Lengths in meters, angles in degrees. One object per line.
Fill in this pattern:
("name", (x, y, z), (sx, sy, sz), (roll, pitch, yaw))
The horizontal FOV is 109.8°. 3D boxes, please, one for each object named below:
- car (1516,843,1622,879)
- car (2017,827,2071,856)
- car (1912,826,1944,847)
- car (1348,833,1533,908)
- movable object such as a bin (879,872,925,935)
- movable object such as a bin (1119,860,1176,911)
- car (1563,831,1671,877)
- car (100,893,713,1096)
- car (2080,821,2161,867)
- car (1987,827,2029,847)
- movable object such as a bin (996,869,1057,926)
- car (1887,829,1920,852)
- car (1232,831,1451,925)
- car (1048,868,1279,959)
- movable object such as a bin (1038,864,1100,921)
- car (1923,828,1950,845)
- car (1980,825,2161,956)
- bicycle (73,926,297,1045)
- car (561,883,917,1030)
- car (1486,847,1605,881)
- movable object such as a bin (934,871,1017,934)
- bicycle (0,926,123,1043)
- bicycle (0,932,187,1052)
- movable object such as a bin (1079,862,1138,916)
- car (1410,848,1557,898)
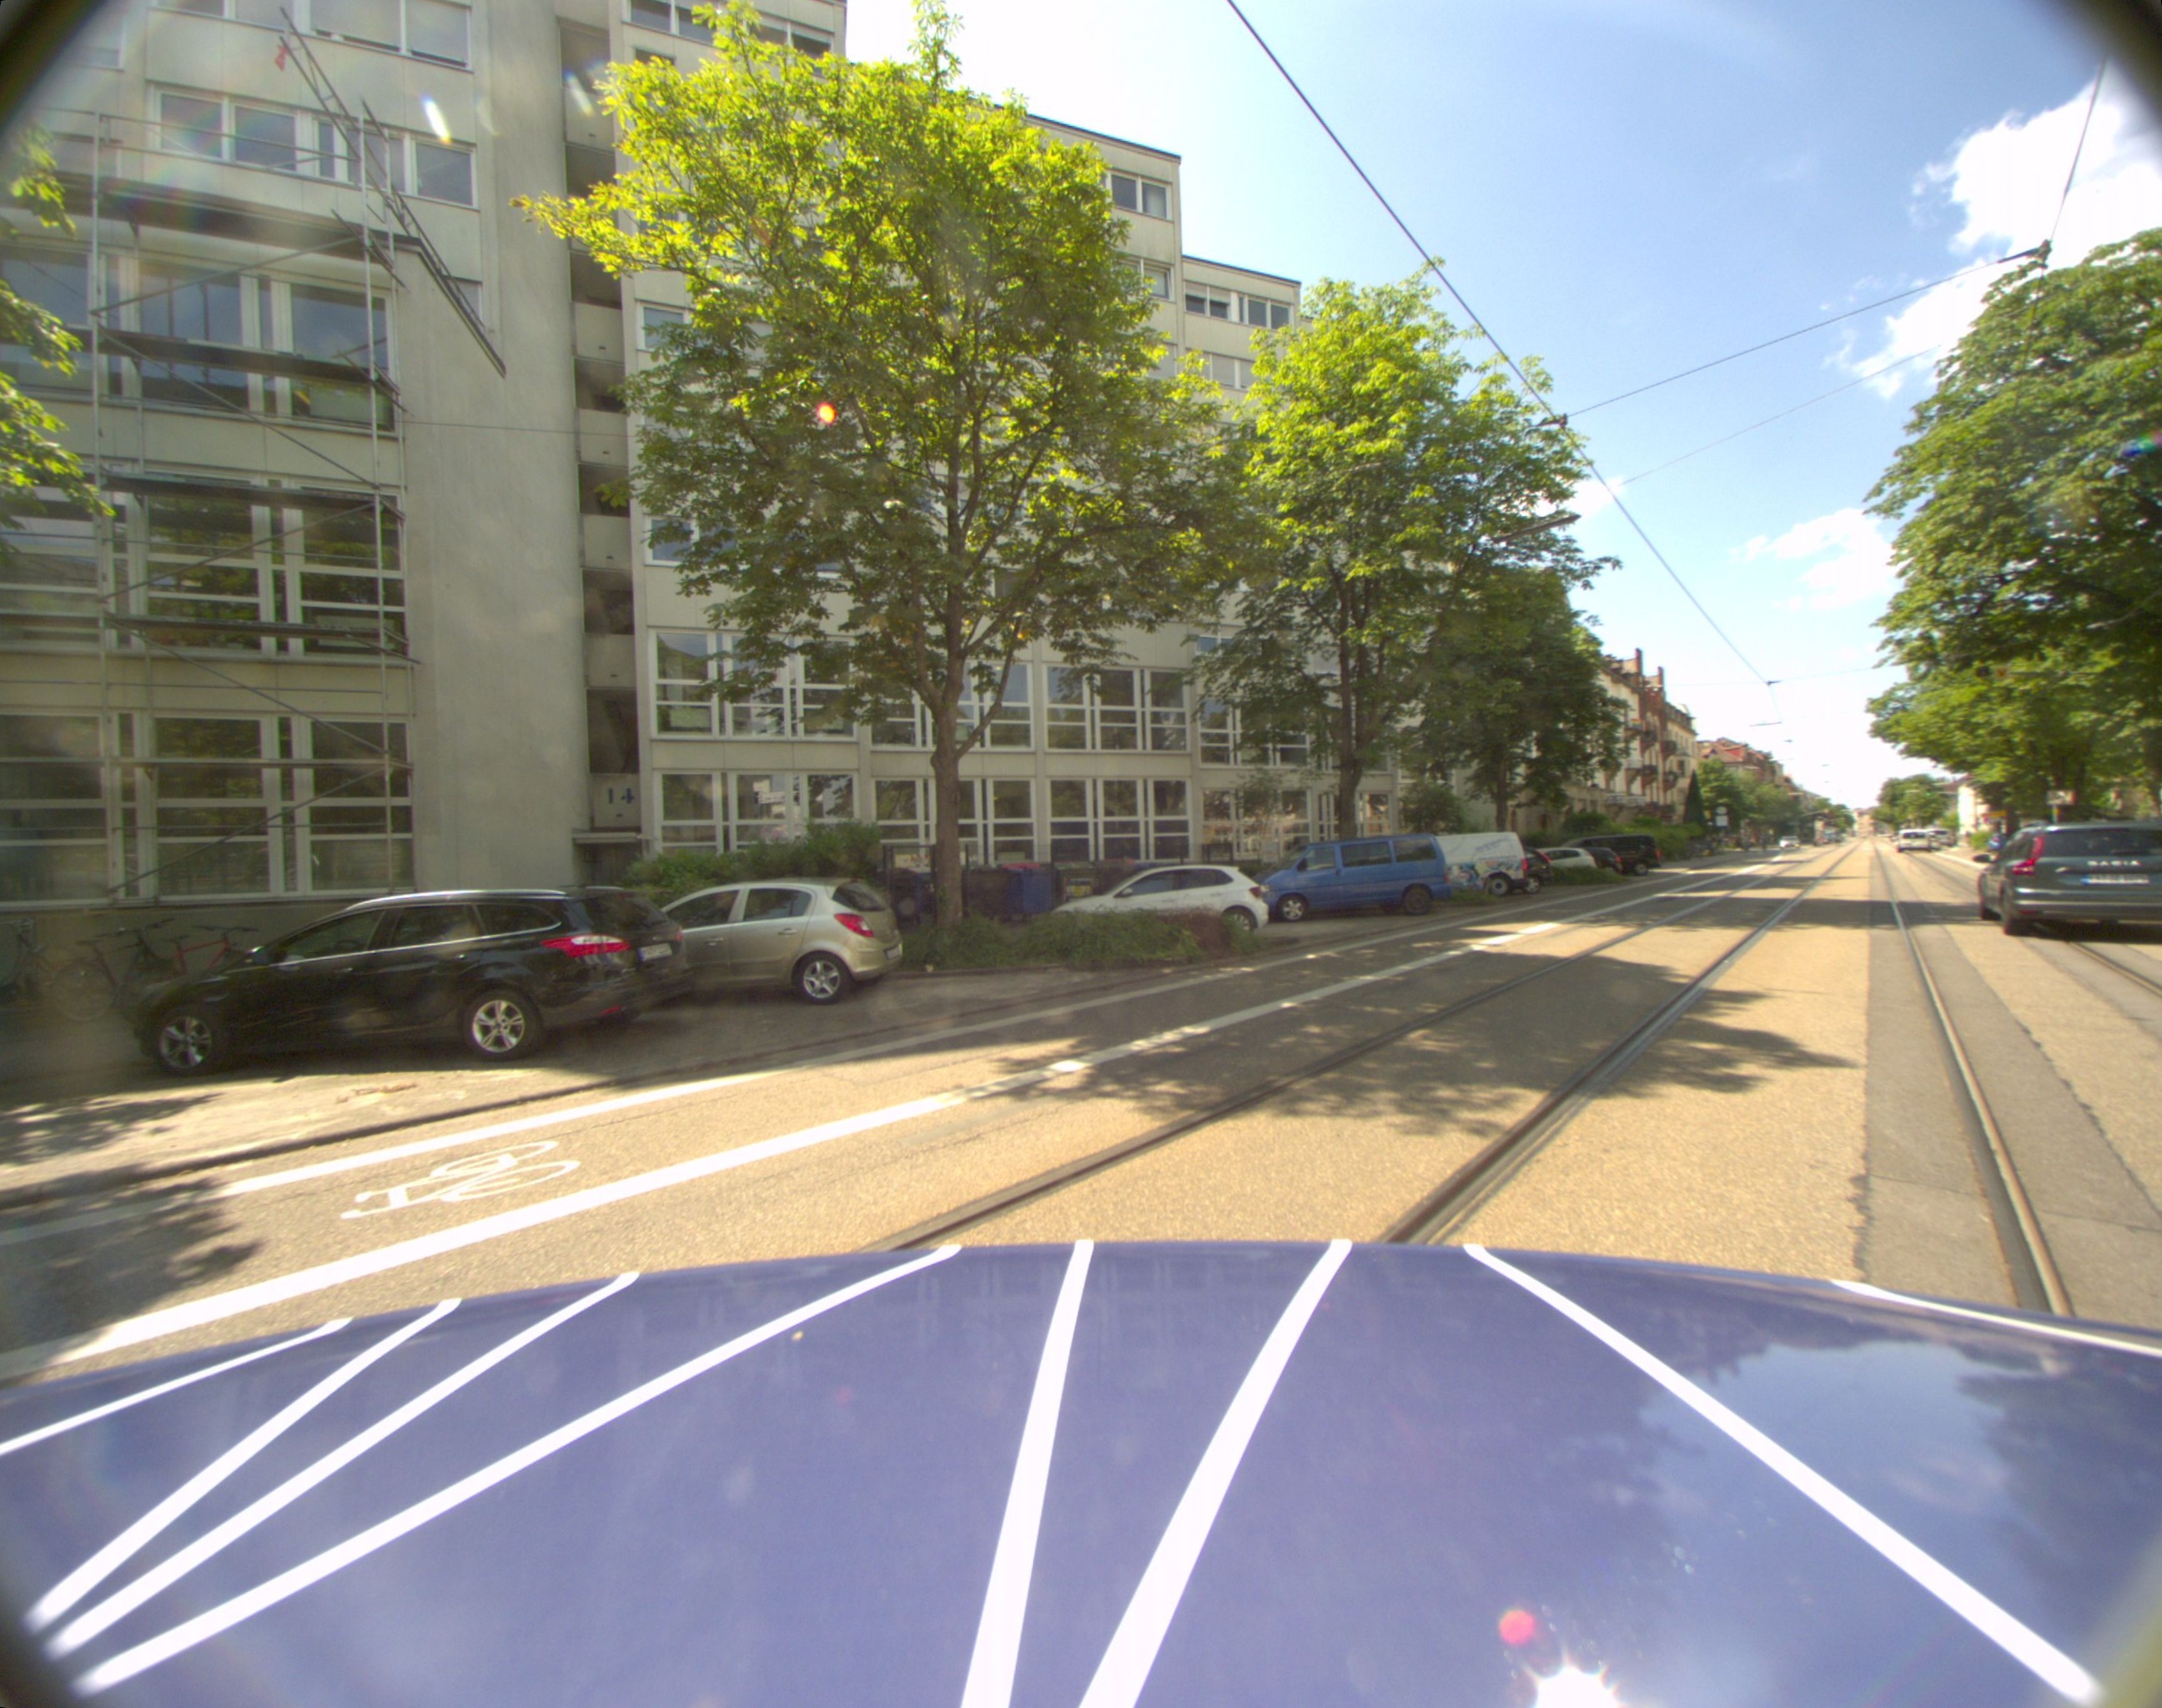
("car", (22.534, 0.342, 35.278), (3.990, 1.499, 1.952), (-2, 0, 29))
("car", (54.111, -0.706, 42.698), (4.007, 1.470, 1.808), (-2, -1, -38))
("car", (72.874, -1.486, 65.406), (4.008, 1.709, 1.759), (-2, 0, -43))
("car", (10.709, 0.502, 22.963), (4.624, 2.002, 2.001), (-2, 0, 8))
("movable object such as a bin", (-4.217, 1.148, 17.855), (0.805, 1.397, 0.765), (-3, 0, -30))
("movable object such as a bin", (1.918, 0.904, 21.887), (1.184, 1.390, 1.035), (-3, 0, -36))
("car", (25.731, 0.013, 36.667), (3.990, 2.002, 2.004), (-2, 0, 29))
("car", (-6.061, 1.219, 7.235), (4.194, 1.461, 1.754), (-2, 0, 0))
("car", (40.281, -0.399, 29.496), (4.007, 1.605, 1.725), (-2, 0, -38))
("car", (72.944, -1.350, 59.846), (4.008, 1.477, 1.833), (-2, 0, -43))
("movable object such as a bin", (-1.353, 1.060, 18.817), (1.079, 1.322, 0.969), (-2, 0, -42))
("car", (64.776, -1.093, 59.856), (4.008, 1.709, 1.674), (-2, 0, -43))
("car", (6.235, 0.565, 18.633), (4.627, 2.002, 2.000), (-2, 0, 0))
("car", (1.428, 1.044, 14.087), (3.978, 1.405, 1.715), (-2, 0, -1))
("movable object such as a bin", (-0.324, 0.989, 19.962), (1.184, 1.390, 1.035), (-3, 0, -36))
("car", (91.719, -1.910, 81.483), (4.008, 1.709, 1.759), (-2, 0, -43))
("car", (14.701, 0.434, 11.198), (4.008, 1.642, 1.602), (-1, 0, -44))
("bicycle", (-11.163, 1.573, 9.609), (0.569, 1.124, 2.232), (-2, 0, -13))
("car", (-4.004, 1.179, 9.363), (3.537, 1.453, 1.754), (-2, 0, 0))
("car", (19.743, 0.403, 32.426), (3.997, 1.379, 1.750), (0, 2, -1))
("movable object such as a bin", (-2.452, 1.100, 17.683), (1.455, 1.322, 1.123), (-2, 0, -42))
("bicycle", (-12.702, 1.556, 8.984), (0.569, 1.230, 1.942), (-2, 0, -13))
("bicycle", (-12.015, 1.594, 9.128), (0.569, 1.124, 1.942), (-2, 0, -13))
("movable object such as a bin", (0.752, 0.948, 20.889), (1.184, 1.390, 1.035), (-3, 0, -36))
("car", (13.316, 0.627, 25.352), (3.993, 1.477, 1.672), (-2, 0, 12))
